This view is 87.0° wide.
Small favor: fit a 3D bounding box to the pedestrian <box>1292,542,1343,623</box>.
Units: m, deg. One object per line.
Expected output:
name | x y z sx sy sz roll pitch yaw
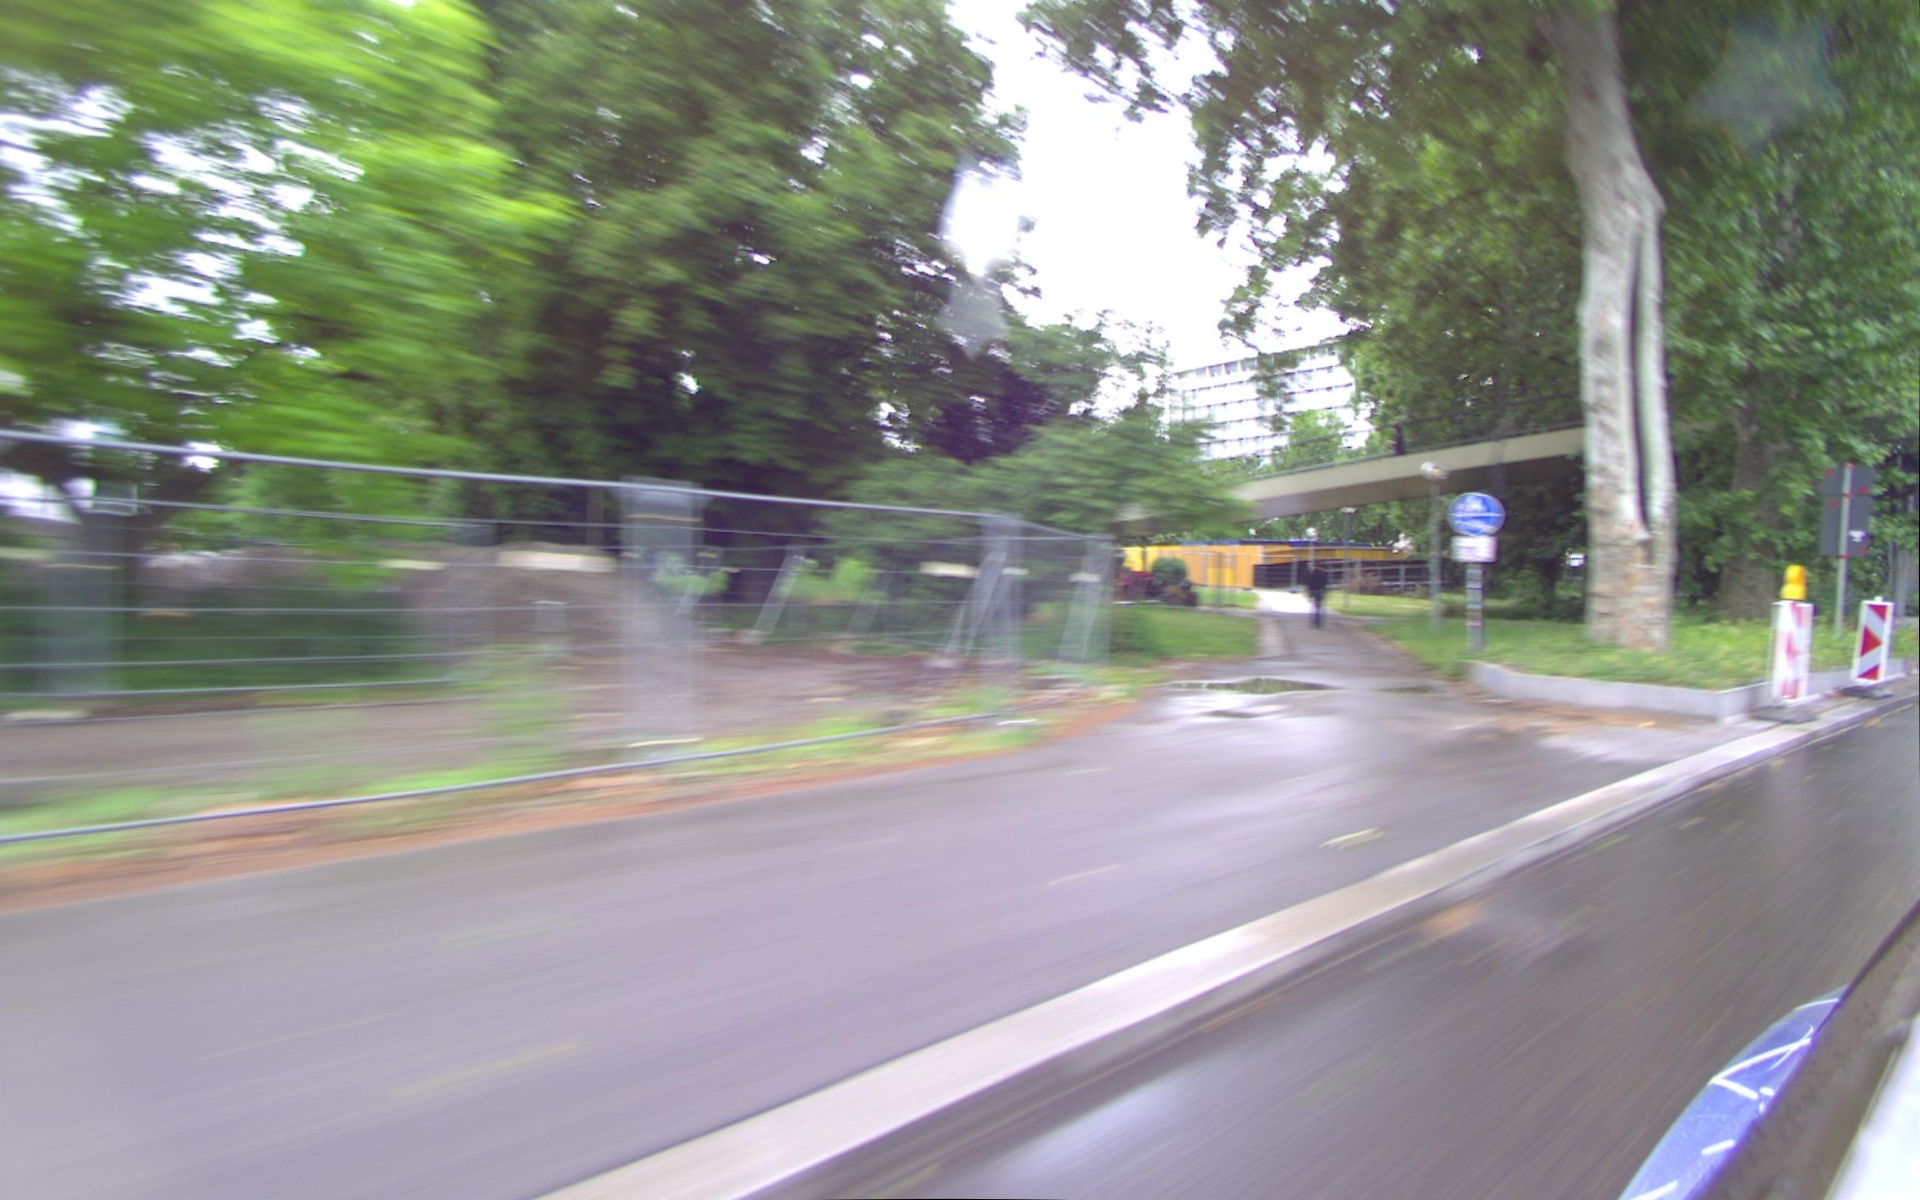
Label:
pedestrian | 9.254 -0.461 26.232 1.035 2.039 1.036 1 1 9
